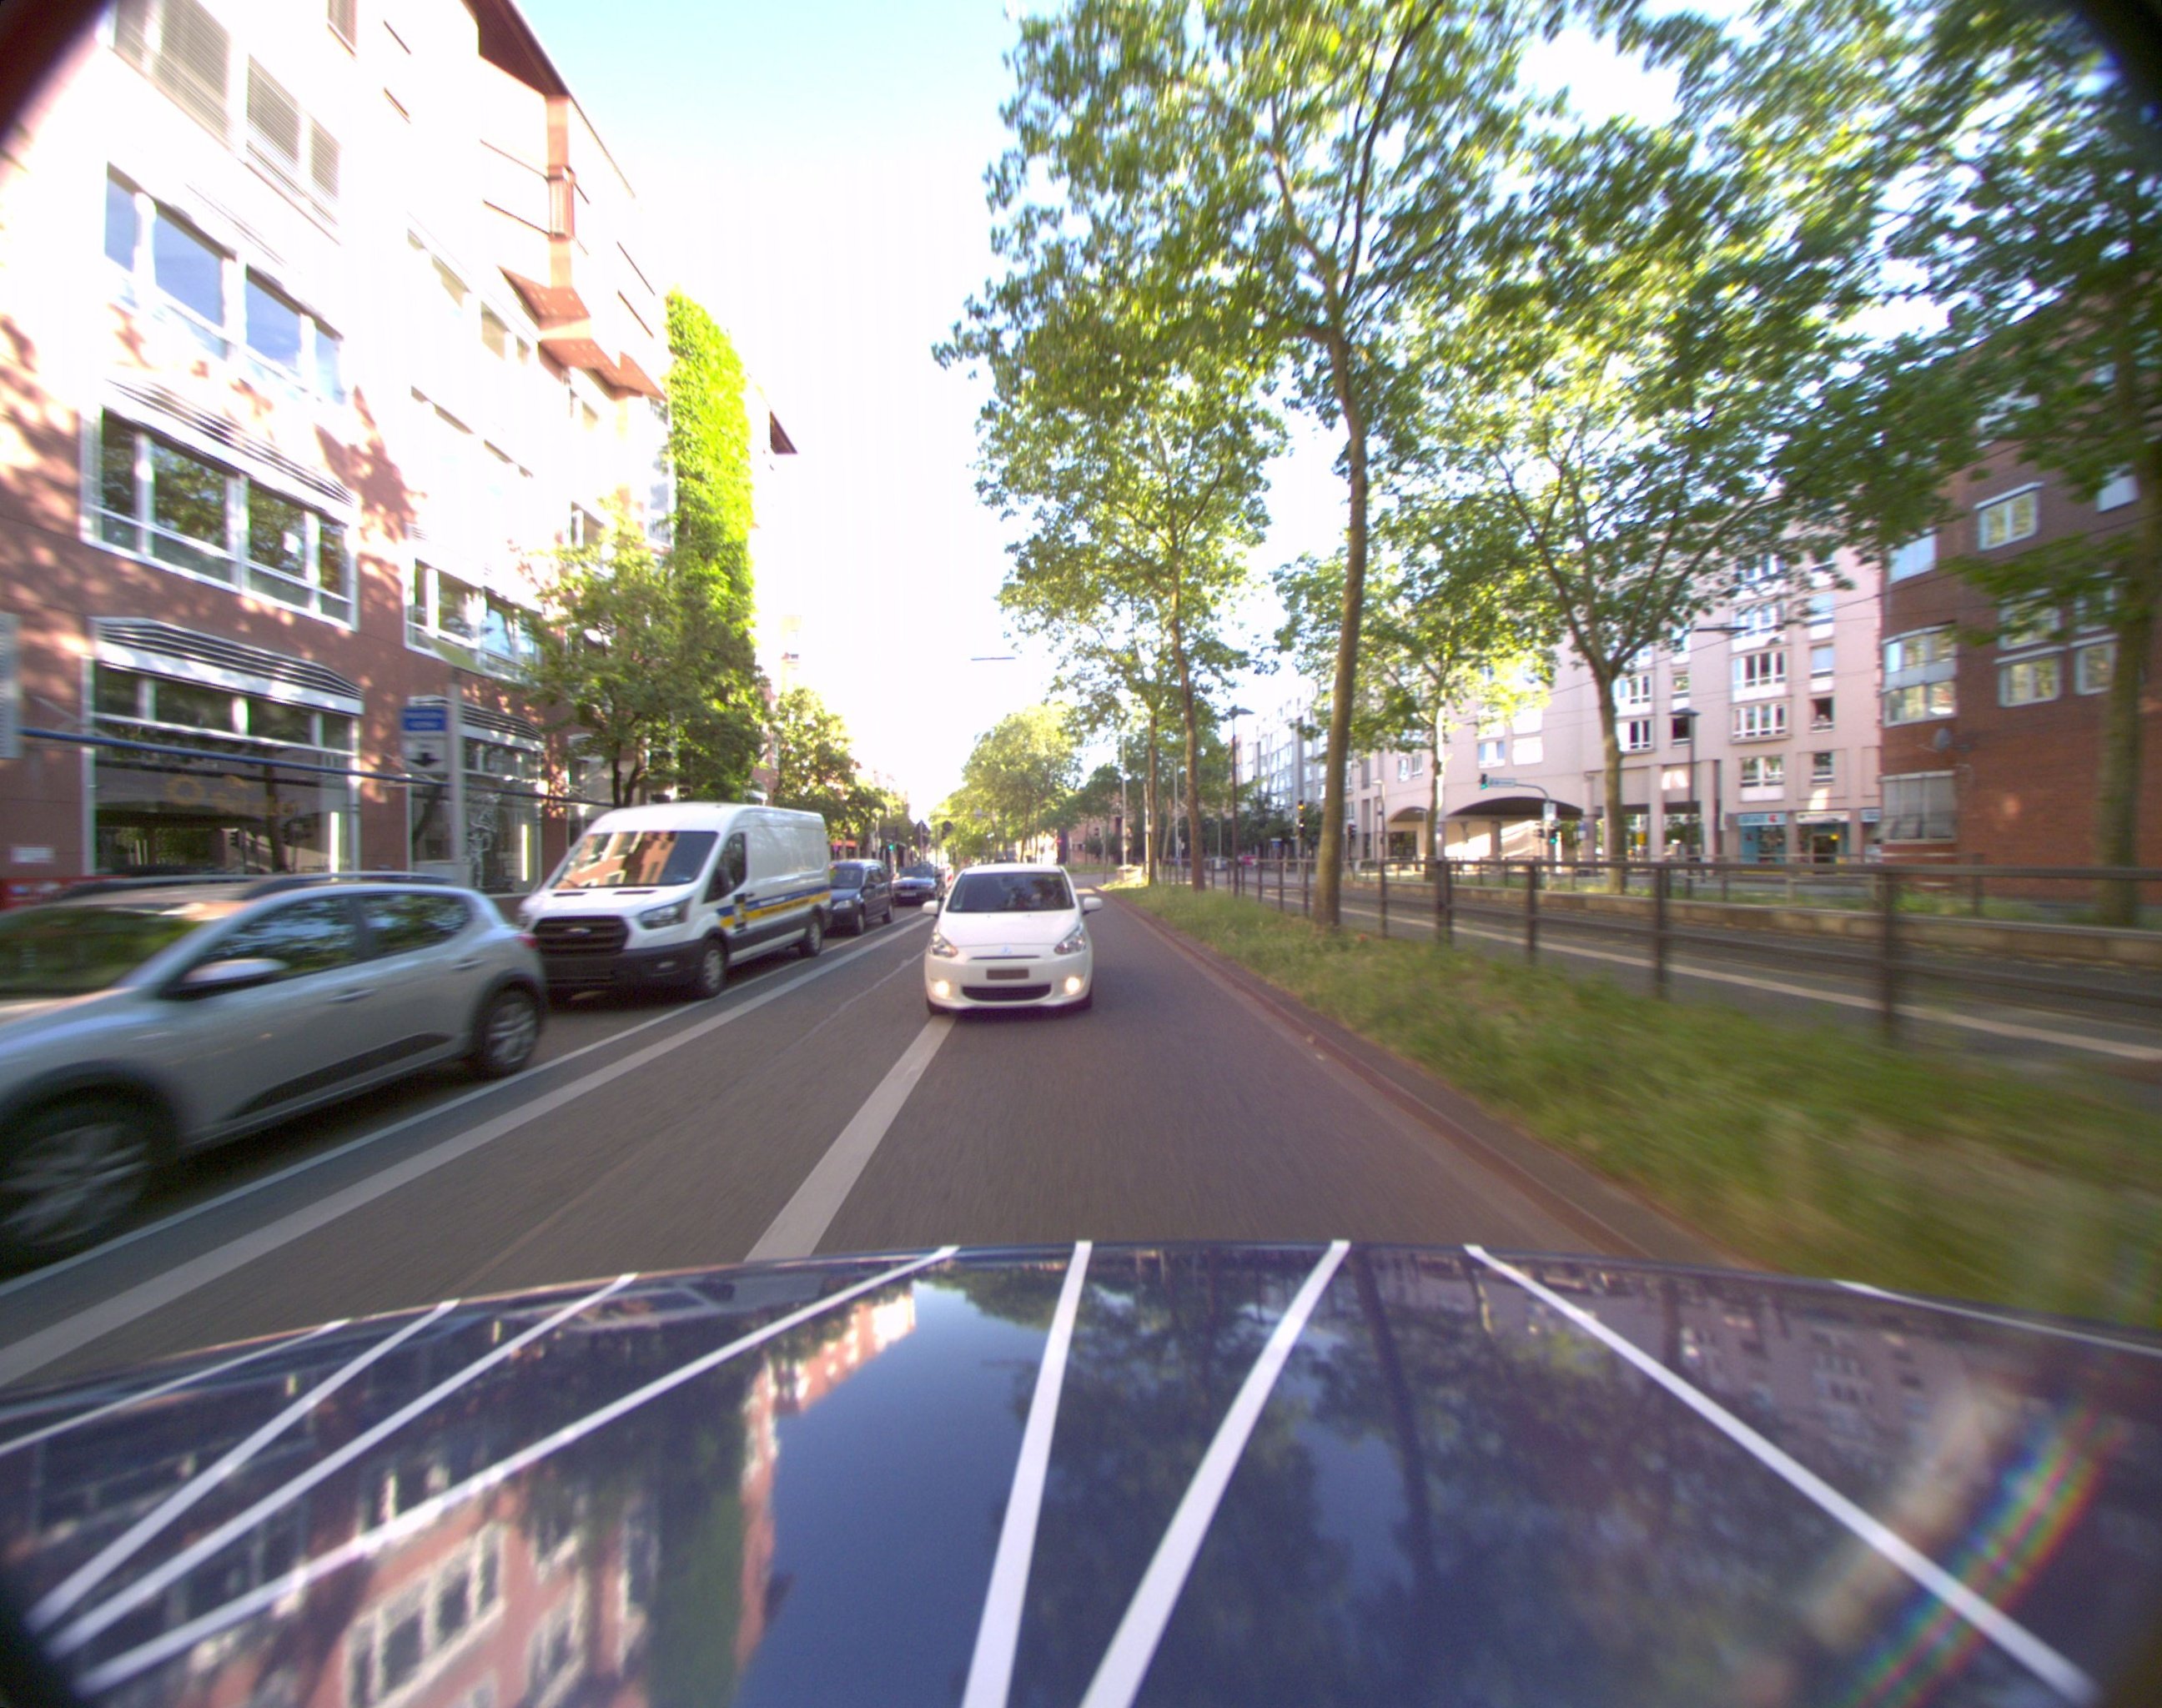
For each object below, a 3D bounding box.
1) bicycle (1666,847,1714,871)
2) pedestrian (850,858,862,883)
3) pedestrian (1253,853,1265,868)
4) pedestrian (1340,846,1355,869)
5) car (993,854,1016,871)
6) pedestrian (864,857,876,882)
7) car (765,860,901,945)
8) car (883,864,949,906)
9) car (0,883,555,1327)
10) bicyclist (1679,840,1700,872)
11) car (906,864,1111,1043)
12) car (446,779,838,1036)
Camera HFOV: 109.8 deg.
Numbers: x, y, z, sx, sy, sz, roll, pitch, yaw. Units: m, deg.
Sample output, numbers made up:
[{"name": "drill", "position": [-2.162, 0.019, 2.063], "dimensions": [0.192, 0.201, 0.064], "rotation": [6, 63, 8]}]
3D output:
[{"name": "bicycle", "position": [32.279, 0.265, 40.281], "dimensions": [0.775, 1.254, 1.814], "rotation": [-3, 1, -33]}, {"name": "pedestrian", "position": [-14.521, 1.061, 49.087], "dimensions": [0.680, 1.607, 0.556], "rotation": [-1, 1, -11]}, {"name": "pedestrian", "position": [18.621, 0.675, 79.518], "dimensions": [1.006, 1.592, 0.876], "rotation": [-2, 1, 3]}, {"name": "pedestrian", "position": [23.390, 0.281, 66.602], "dimensions": [1.006, 2.002, 0.876], "rotation": [-2, 1, 6]}, {"name": "car", "position": [-7.884, 0.884, 78.648], "dimensions": [1.999, 1.524, 3.998], "rotation": [-3, 1, -2]}, {"name": "pedestrian", "position": [-13.646, 1.005, 49.088], "dimensions": [0.680, 1.607, 0.556], "rotation": [-1, 1, -11]}, {"name": "car", "position": [-5.484, 0.988, 17.445], "dimensions": [1.809, 1.617, 4.474], "rotation": [-1, 0, -3]}, {"name": "car", "position": [-5.802, 1.048, 27.136], "dimensions": [1.809, 1.323, 3.989], "rotation": [-1, 0, -5]}, {"name": "car", "position": [-5.119, 1.039, 4.127], "dimensions": [1.833, 1.570, 3.999], "rotation": [-1, 0, -2]}, {"name": "bicyclist", "position": [32.261, 0.113, 40.296], "dimensions": [0.720, 1.639, 0.667], "rotation": [-3, 2, -32]}, {"name": "car", "position": [-0.830, 0.913, 8.920], "dimensions": [1.809, 1.492, 4.198], "rotation": [-1, 0, -5]}, {"name": "car", "position": [-5.348, 0.529, 10.599], "dimensions": [2.120, 2.550, 5.903], "rotation": [-1, 0, -2]}]
